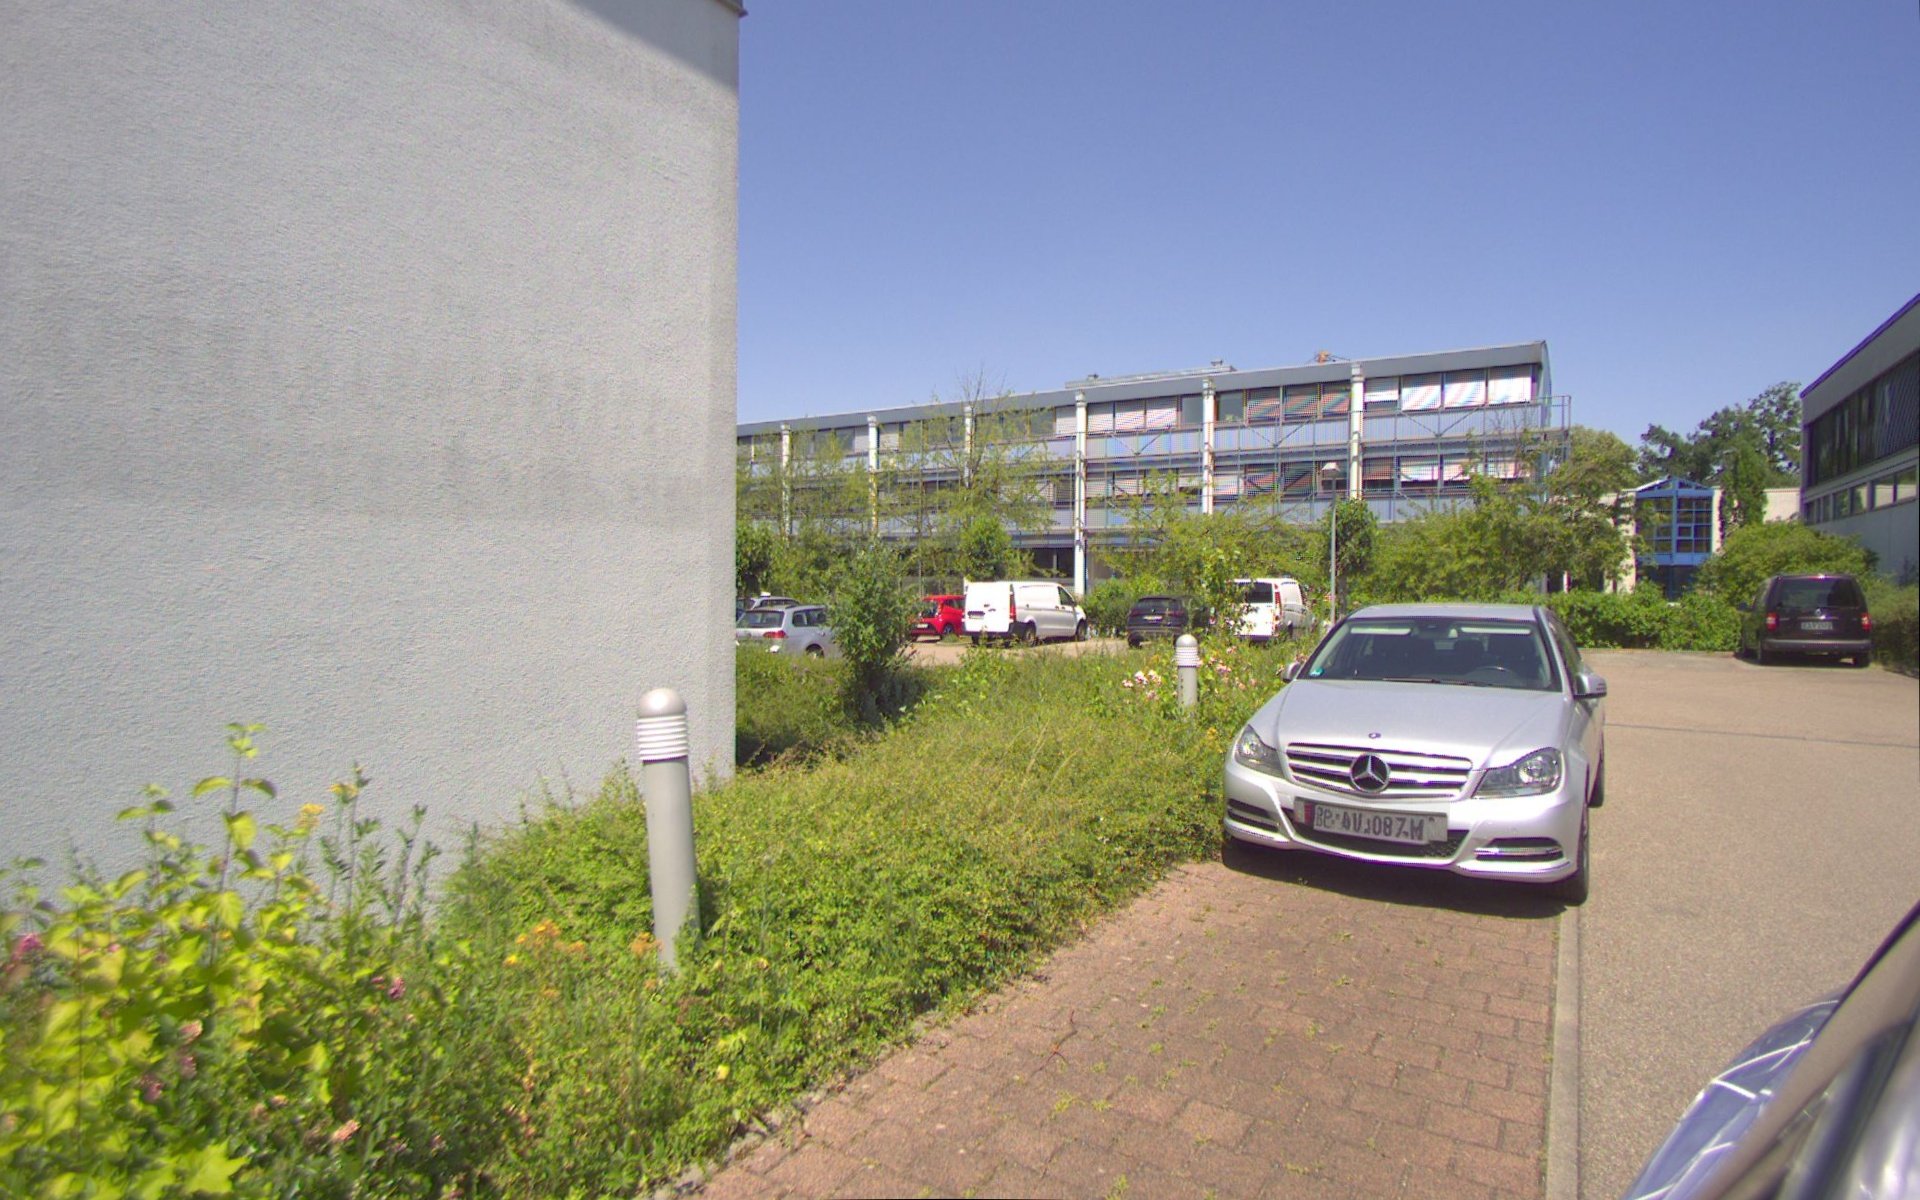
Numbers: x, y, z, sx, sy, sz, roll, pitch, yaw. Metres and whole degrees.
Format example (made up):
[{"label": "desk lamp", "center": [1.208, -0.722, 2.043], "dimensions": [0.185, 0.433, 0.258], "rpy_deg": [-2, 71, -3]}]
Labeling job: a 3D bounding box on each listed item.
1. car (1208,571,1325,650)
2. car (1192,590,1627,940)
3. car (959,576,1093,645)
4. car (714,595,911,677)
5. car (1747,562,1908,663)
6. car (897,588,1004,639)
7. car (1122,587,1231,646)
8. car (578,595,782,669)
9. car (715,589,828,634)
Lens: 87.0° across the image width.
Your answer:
[{"label": "car", "center": [8.137, 0.213, 26.564], "dimensions": [1.853, 1.883, 4.626], "rpy_deg": [0, 1, 31]}, {"label": "car", "center": [3.176, 0.666, 6.541], "dimensions": [1.793, 1.415, 4.365], "rpy_deg": [1, 1, 35]}, {"label": "car", "center": [2.091, 0.246, 30.527], "dimensions": [1.843, 1.879, 4.877], "rpy_deg": [0, 1, 33]}, {"label": "car", "center": [-3.033, 0.684, 21.761], "dimensions": [1.842, 1.539, 4.378], "rpy_deg": [0, 0, 31]}, {"label": "car", "center": [17.920, 0.196, 21.116], "dimensions": [1.853, 1.883, 4.182], "rpy_deg": [0, 1, 31]}, {"label": "car", "center": [-0.237, 0.401, 33.057], "dimensions": [1.613, 1.506, 3.875], "rpy_deg": [0, 1, 33]}, {"label": "car", "center": [6.156, 0.403, 28.454], "dimensions": [1.726, 1.502, 4.152], "rpy_deg": [0, 1, 31]}, {"label": "car", "center": [-6.323, 0.649, 23.386], "dimensions": [1.842, 1.513, 4.561], "rpy_deg": [0, 0, 31]}, {"label": "car", "center": [-6.800, 0.363, 36.889], "dimensions": [1.728, 1.502, 4.035], "rpy_deg": [0, 1, 34]}]
